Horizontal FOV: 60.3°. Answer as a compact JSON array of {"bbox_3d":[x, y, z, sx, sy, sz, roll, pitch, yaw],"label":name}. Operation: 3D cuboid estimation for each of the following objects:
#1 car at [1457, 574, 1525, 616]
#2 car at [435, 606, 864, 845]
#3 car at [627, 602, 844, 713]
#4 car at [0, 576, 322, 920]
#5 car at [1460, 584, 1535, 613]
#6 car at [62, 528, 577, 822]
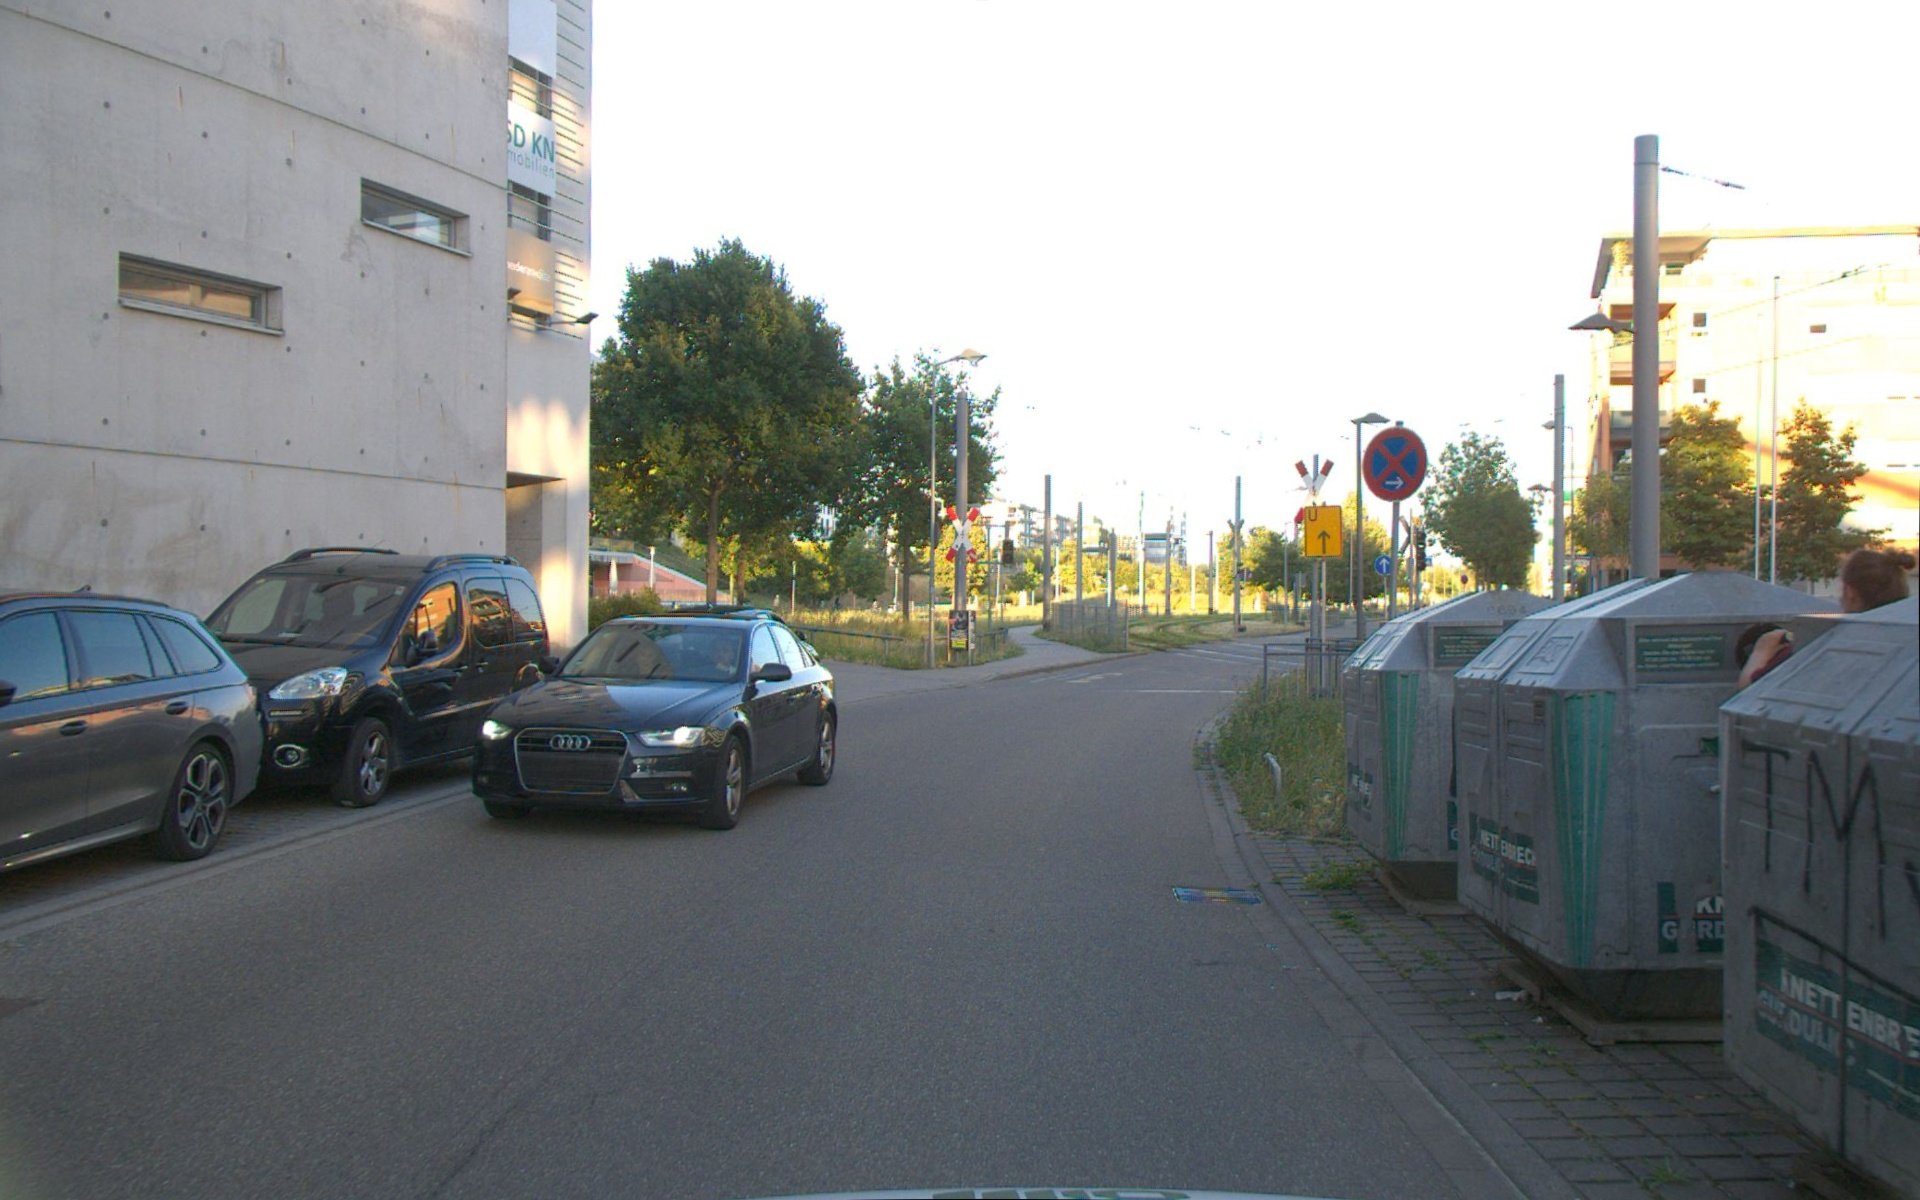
[{"bbox_3d":[34.113,-0.316,106.269,4.065,2.629,1.704,0,0,15],"label":"car"},{"bbox_3d":[-2.095,0.782,12.595,1.740,1.447,4.519,1,0,9],"label":"car"},{"bbox_3d":[-3.190,0.770,24.436,1.903,1.407,4.403,2,0,9],"label":"car"},{"bbox_3d":[-5.016,0.639,8.071,1.686,1.483,4.696,2,0,4],"label":"car"},{"bbox_3d":[30.955,-0.099,95.279,4.066,1.604,1.704,0,0,19],"label":"car"},{"bbox_3d":[-4.710,0.481,12.994,1.720,1.830,4.467,2,0,9],"label":"car"}]
